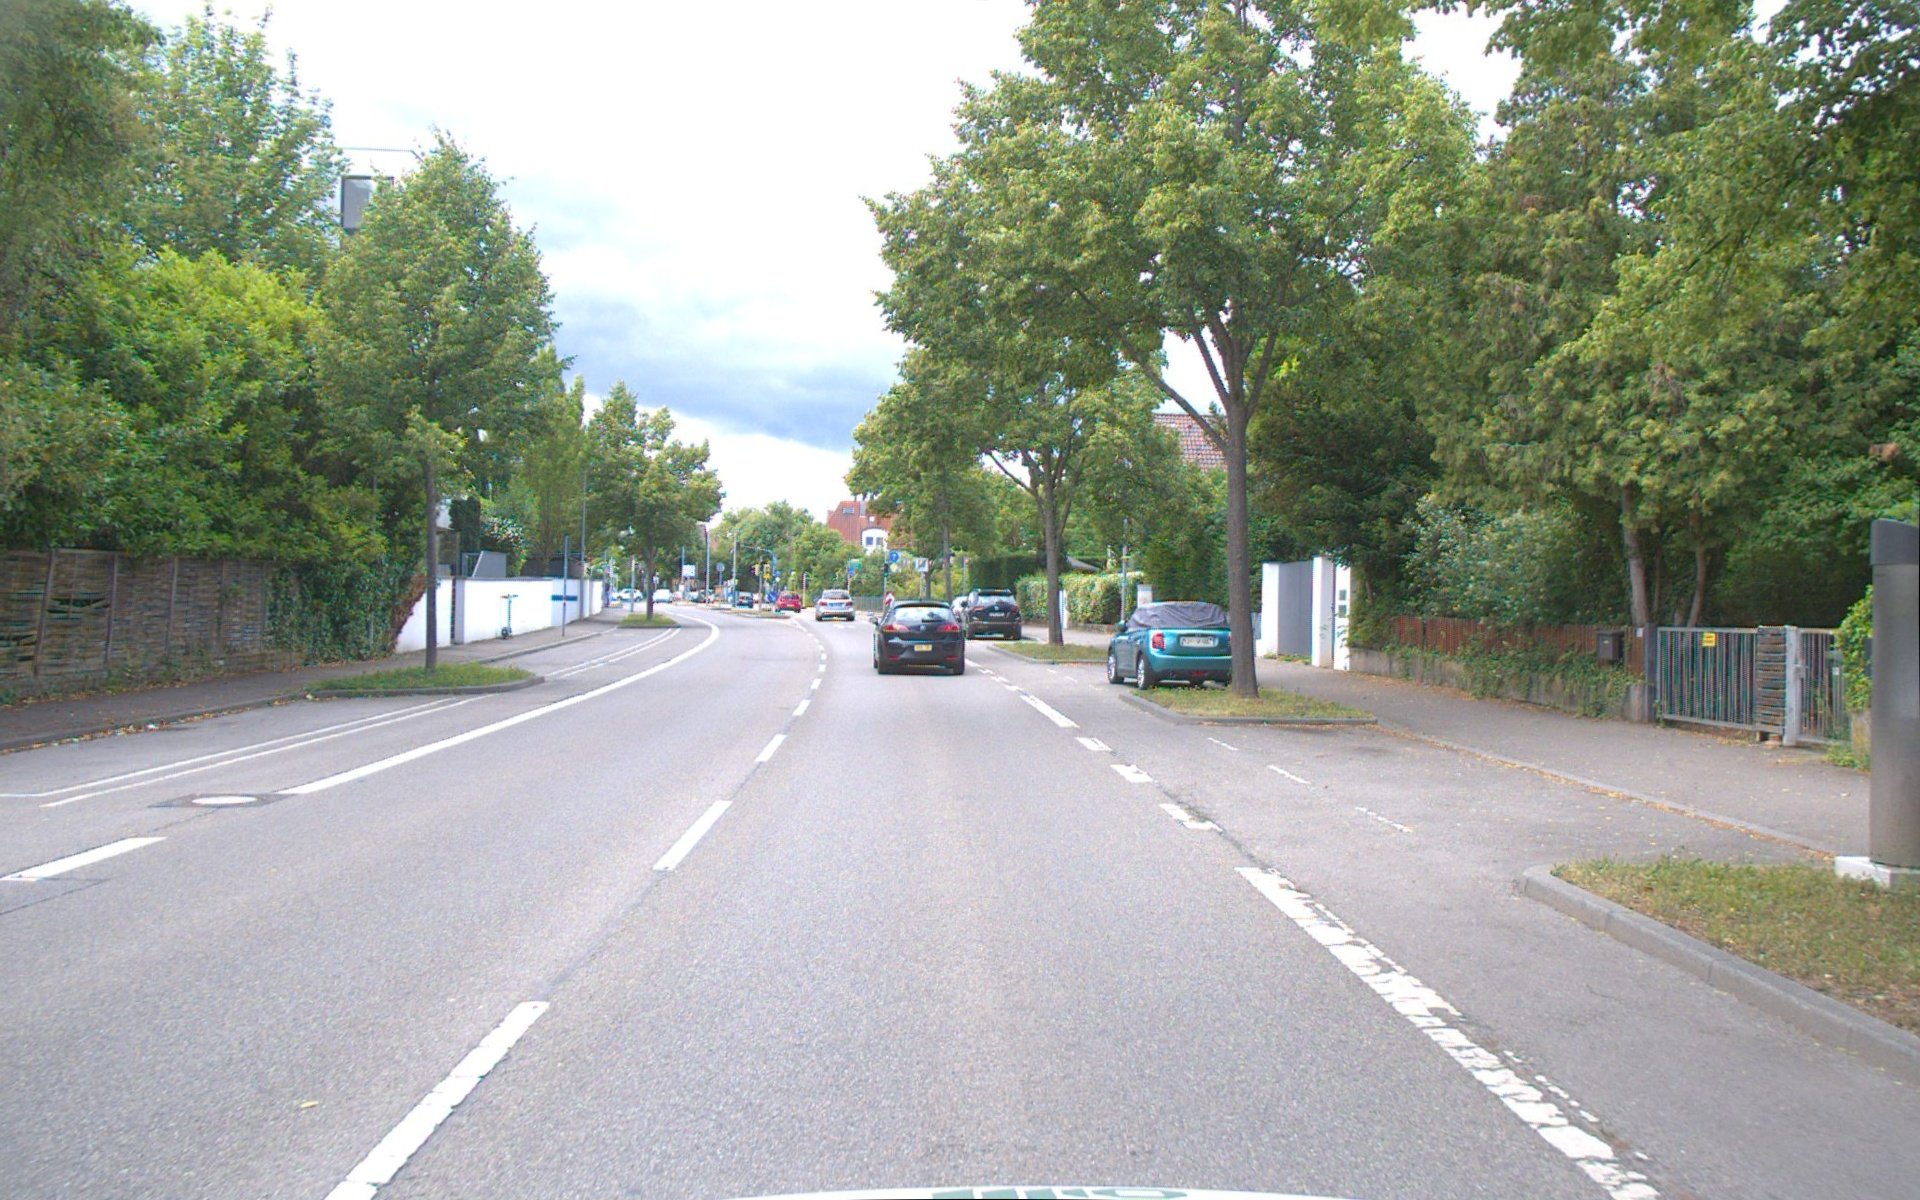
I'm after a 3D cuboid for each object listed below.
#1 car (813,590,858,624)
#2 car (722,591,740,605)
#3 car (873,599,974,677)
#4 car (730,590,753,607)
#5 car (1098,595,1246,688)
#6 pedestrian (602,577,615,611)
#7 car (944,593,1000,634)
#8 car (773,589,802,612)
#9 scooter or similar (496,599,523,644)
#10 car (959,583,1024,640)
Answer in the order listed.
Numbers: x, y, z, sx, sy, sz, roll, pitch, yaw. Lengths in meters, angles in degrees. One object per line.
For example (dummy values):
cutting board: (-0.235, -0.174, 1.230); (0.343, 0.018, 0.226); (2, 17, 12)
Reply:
car: (-6.053, 0.356, 80.870); (1.953, 1.585, 3.999); (-1, 0, -1)
car: (-27.708, -0.271, 200.113); (1.934, 1.705, 3.874); (1, 0, -4)
car: (-0.681, 0.736, 33.321); (1.746, 1.474, 3.559); (1, 0, 3)
car: (-20.042, -0.129, 151.780); (1.955, 1.534, 3.995); (1, -1, -5)
car: (3.517, 0.651, 28.129); (1.650, 1.457, 4.039); (1, 0, -6)
pedestrian: (-22.303, -0.377, 104.945); (0.739, 2.090, 0.723); (1, -1, -10)
car: (0.423, 0.498, 61.566); (1.653, 1.474, 3.574); (1, 0, -7)
car: (-12.155, 0.044, 116.802); (1.955, 1.557, 3.995); (1, 0, -6)
scooter or similar: (-12.255, 0.578, 45.029); (0.492, 1.175, 1.300); (1, 0, -6)
car: (1.025, 0.378, 55.701); (1.754, 1.803, 3.978); (1, 0, -5)
